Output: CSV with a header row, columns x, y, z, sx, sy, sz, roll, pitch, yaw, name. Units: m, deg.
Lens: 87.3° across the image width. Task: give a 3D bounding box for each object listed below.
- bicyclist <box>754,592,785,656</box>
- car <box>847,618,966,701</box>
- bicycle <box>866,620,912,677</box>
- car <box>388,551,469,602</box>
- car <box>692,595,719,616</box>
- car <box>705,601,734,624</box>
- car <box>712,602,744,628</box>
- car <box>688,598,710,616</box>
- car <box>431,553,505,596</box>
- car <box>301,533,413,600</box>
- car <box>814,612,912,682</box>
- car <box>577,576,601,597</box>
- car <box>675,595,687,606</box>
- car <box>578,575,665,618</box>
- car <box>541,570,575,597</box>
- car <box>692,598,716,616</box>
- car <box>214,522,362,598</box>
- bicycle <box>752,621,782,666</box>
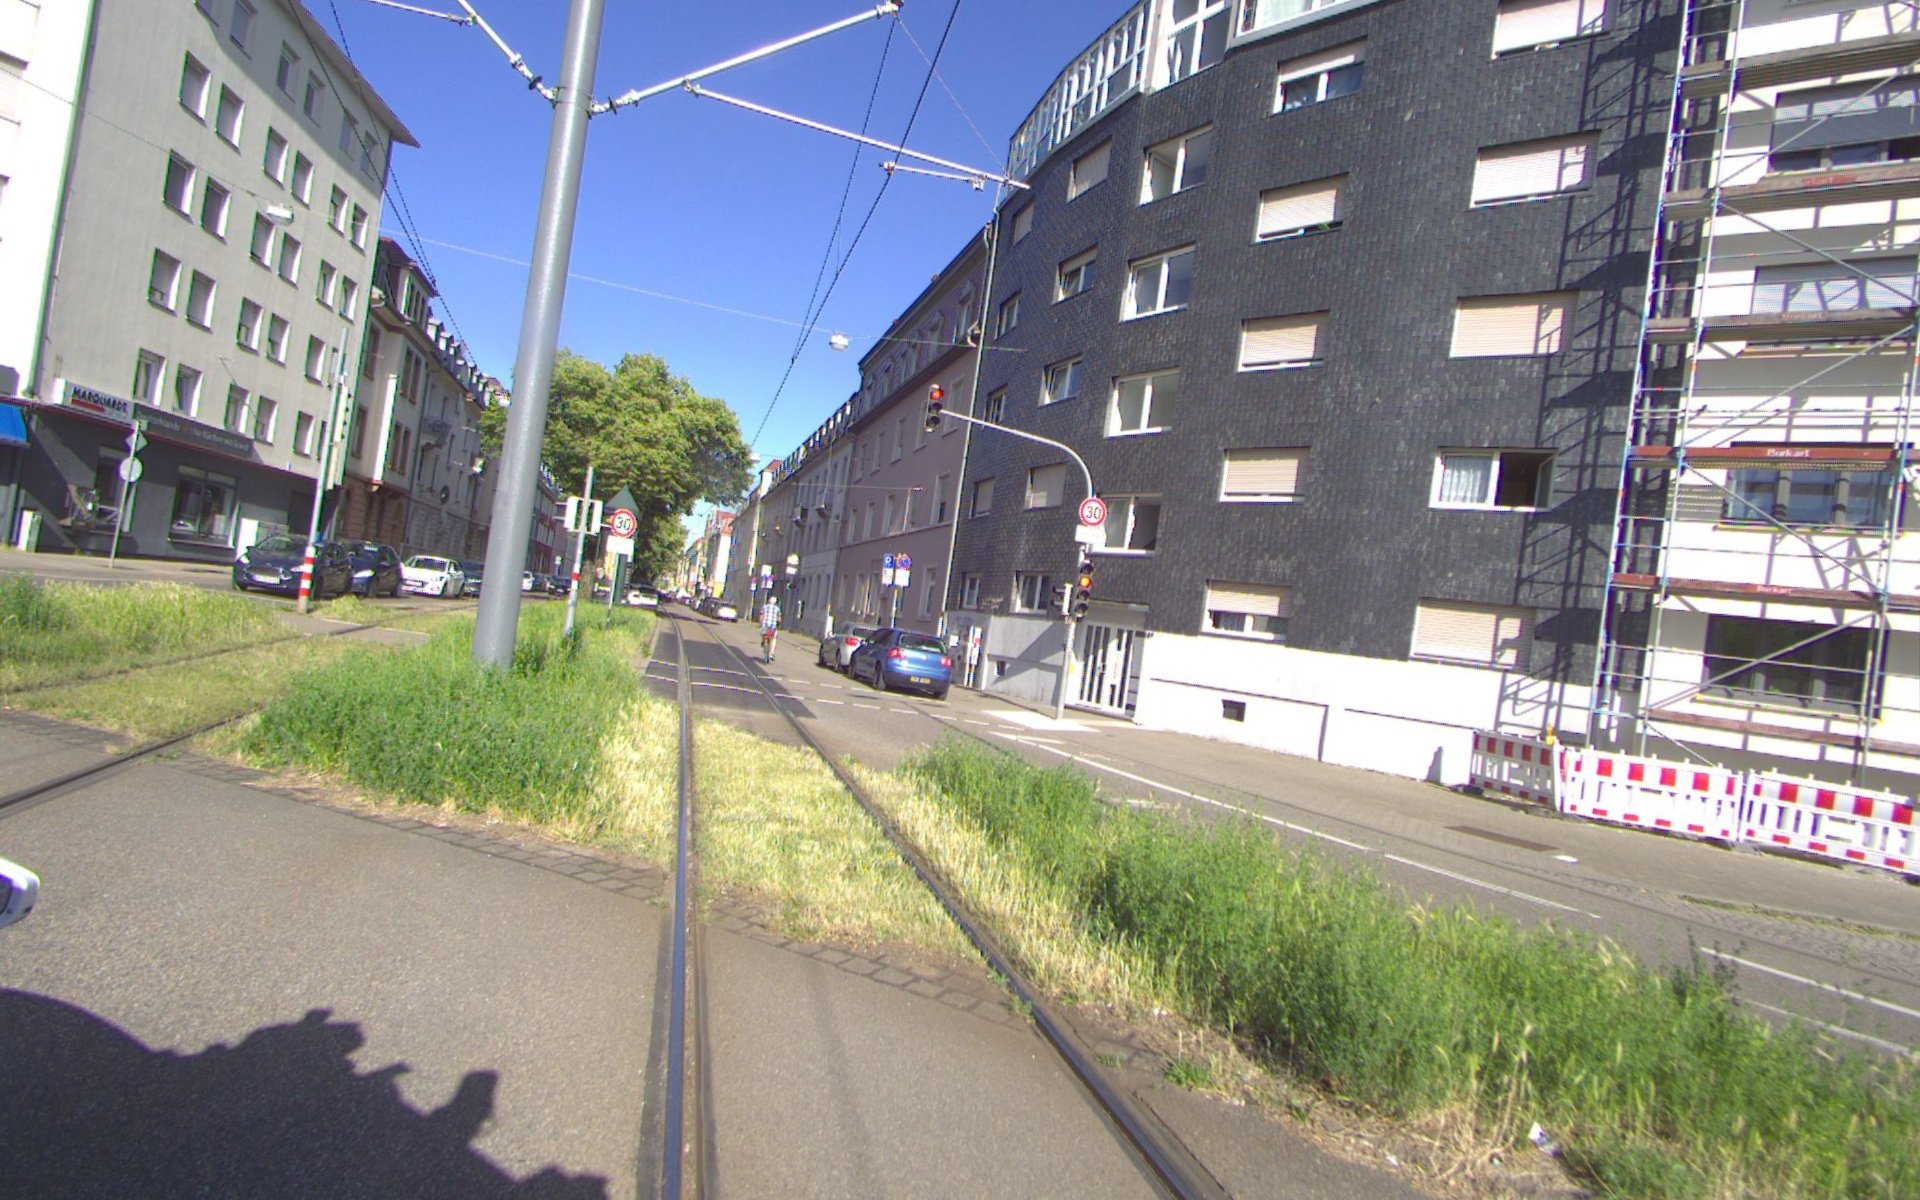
x,y,z,sx,sy,sz,roll,pitch,yaw,name
-4.961,0.628,26.274,0.552,1.577,0.823,8,-1,-8,bicyclist
-1.371,1.372,24.133,1.756,1.459,3.604,10,-2,-19,car
-2.206,1.449,30.864,0.567,1.528,2.797,8,-2,-18,bicycle
-19.380,-0.816,36.832,1.770,1.499,3.521,9,-2,-16,car
-22.412,0.444,88.637,1.914,1.484,3.985,10,-2,-18,car
-20.161,1.049,84.193,1.914,1.484,3.985,10,-2,-18,car
-18.032,1.189,78.094,1.971,1.635,3.990,9,-4,-16,car
-28.193,0.759,108.533,1.914,1.484,3.985,10,-2,-18,car
-21.159,-1.046,43.417,1.970,1.489,3.989,9,-2,-15,car
-17.711,-0.928,29.740,1.770,1.583,3.755,9,-2,-16,car
-2.865,1.302,28.824,1.799,1.525,3.985,9,-1,-18,car
-38.828,-1.408,105.402,1.972,1.770,3.986,9,-2,-18,car
-42.951,0.047,154.869,1.657,1.381,3.687,9,-2,-15,car
-17.600,-0.183,52.272,3.929,1.612,1.911,8,-2,25,car
-30.983,-1.252,77.636,1.972,1.770,3.986,9,-2,-18,car
-26.144,0.718,102.539,1.914,1.484,3.985,10,-2,-18,car
-15.983,-0.886,24.157,1.770,1.411,3.714,9,-2,-16,car
-4.998,1.111,26.081,0.579,1.044,1.855,8,-2,-10,bicycle
